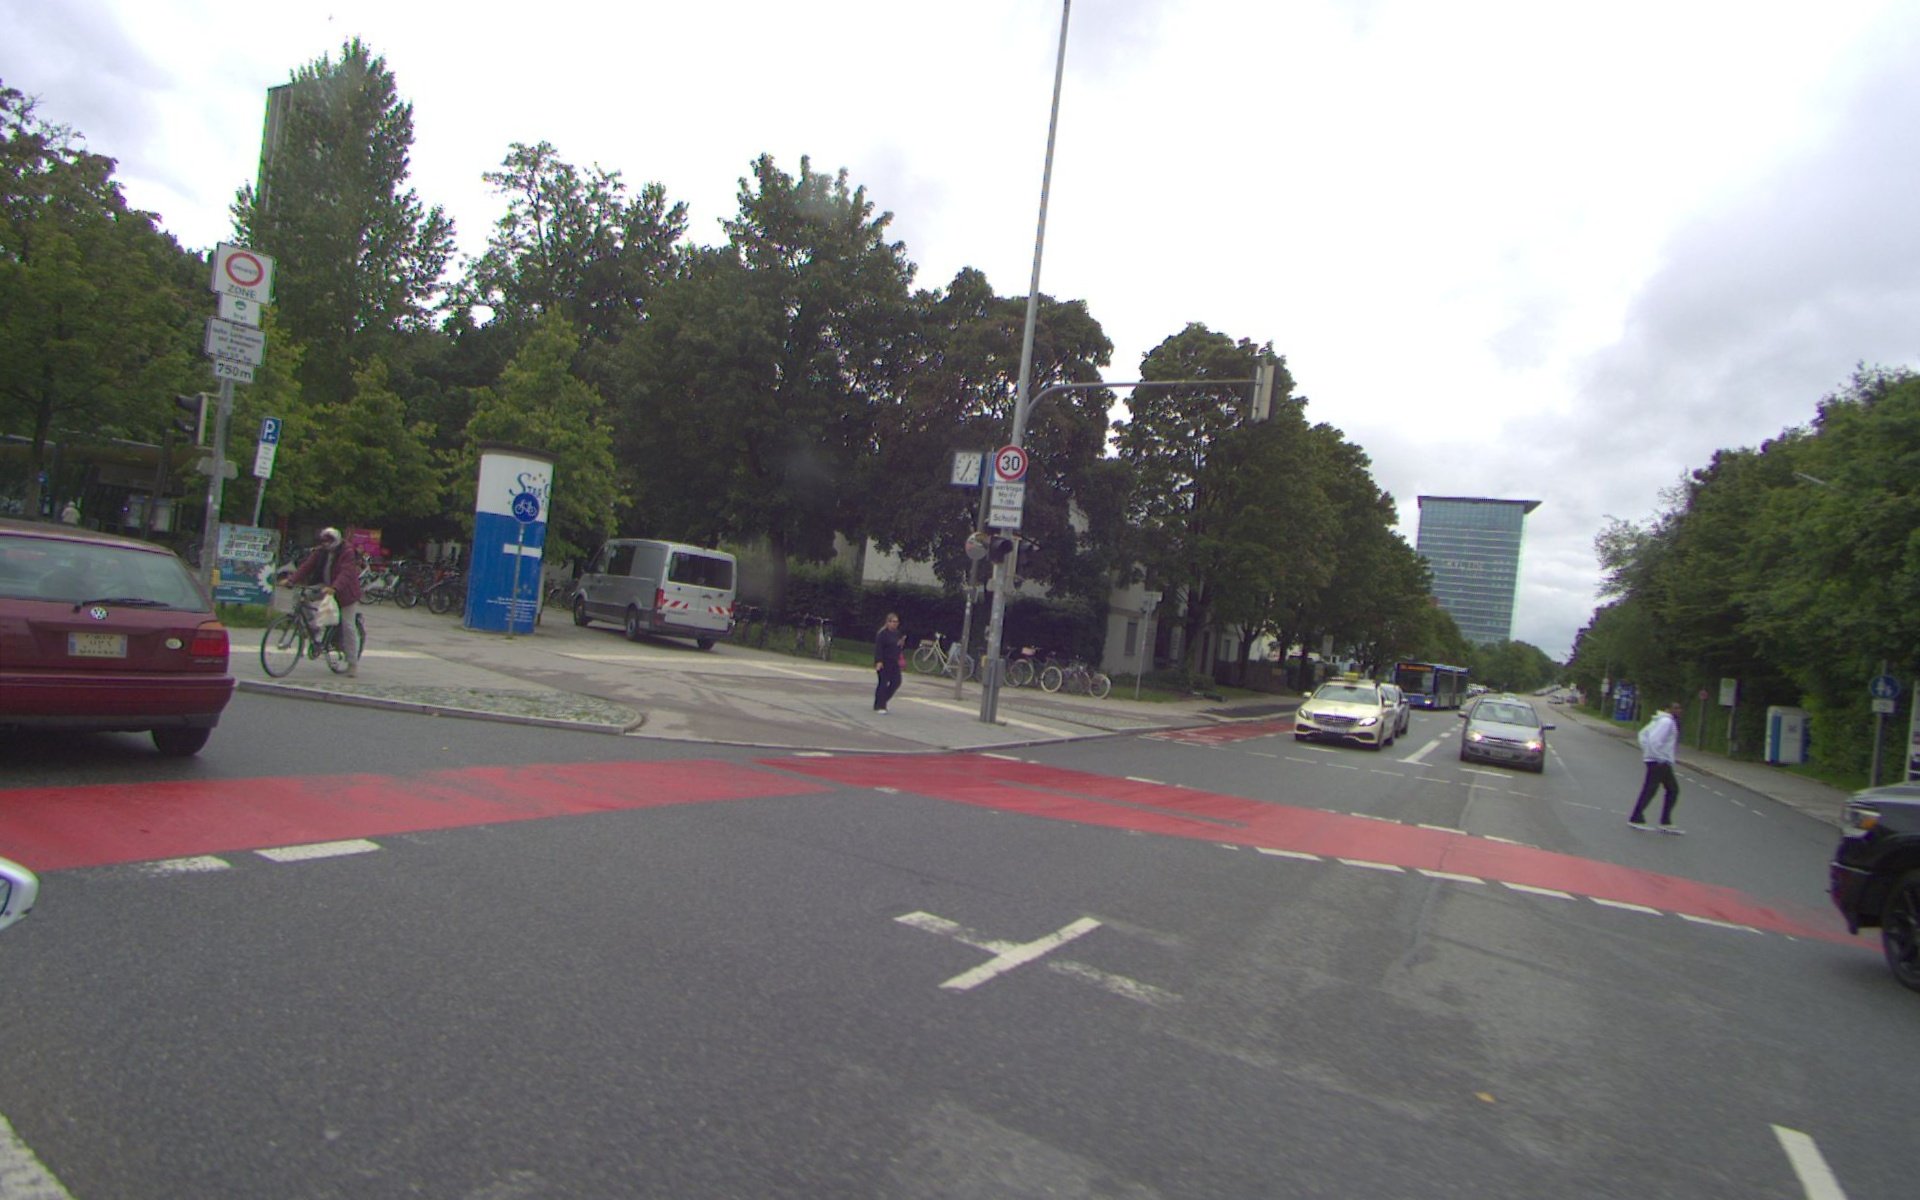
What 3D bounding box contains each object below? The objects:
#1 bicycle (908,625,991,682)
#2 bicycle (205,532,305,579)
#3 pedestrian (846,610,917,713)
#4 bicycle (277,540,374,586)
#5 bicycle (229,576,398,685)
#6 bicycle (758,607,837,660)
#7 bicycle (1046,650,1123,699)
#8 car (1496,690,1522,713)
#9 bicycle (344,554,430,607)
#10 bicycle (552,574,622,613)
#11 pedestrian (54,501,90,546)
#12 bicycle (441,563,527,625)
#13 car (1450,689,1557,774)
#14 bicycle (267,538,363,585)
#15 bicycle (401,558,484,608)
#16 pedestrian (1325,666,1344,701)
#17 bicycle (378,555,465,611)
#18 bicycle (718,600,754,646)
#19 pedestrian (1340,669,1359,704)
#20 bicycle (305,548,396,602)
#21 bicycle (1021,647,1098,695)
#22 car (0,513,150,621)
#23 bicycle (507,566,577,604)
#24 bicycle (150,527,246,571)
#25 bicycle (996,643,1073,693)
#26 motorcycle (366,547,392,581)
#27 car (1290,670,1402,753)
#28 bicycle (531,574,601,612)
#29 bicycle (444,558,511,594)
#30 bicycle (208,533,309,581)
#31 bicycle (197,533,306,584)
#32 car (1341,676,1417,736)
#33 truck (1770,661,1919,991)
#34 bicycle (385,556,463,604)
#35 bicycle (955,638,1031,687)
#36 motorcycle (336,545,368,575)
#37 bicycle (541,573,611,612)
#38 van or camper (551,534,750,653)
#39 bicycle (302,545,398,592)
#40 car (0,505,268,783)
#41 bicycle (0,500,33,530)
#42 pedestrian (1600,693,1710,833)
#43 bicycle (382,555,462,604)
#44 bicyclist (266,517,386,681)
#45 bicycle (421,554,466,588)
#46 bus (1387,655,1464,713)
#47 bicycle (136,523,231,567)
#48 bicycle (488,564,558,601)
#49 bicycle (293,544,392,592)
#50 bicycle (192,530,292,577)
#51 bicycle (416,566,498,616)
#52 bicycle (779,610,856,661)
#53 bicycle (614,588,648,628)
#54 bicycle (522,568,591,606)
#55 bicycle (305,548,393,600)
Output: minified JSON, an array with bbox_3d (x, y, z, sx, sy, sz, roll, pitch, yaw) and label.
[{"bbox_3d":[-0.283,1.445,27.402,2.074,1.266,0.703,7,0,5],"label":"bicycle"},{"bbox_3d":[-20.743,-1.288,29.655,0.520,1.172,2.340,7,2,30],"label":"bicycle"},{"bbox_3d":[-1.277,0.998,16.326,0.687,1.557,0.729,7,0,-40],"label":"pedestrian"},{"bbox_3d":[-18.718,-1.073,29.738,0.575,1.172,2.340,7,1,30],"label":"bicycle"},{"bbox_3d":[-7.508,0.342,11.818,0.734,1.094,1.947,7,-1,-4],"label":"bicycle"},{"bbox_3d":[-4.460,0.910,27.523,2.094,1.167,0.717,6,0,34],"label":"bicycle"},{"bbox_3d":[3.546,2.123,28.875,2.083,1.108,0.607,6,0,39],"label":"bicycle"},{"bbox_3d":[57.077,10.562,104.596,1.967,2.038,3.992,6,-1,32],"label":"car"},{"bbox_3d":[-13.970,-0.458,24.588,0.557,1.157,1.811,6,1,20],"label":"bicycle"},{"bbox_3d":[-12.615,-0.192,34.075,0.520,1.172,2.340,7,2,30],"label":"bicycle"},{"bbox_3d":[-33.085,-2.838,37.493,0.681,1.531,0.580,7,0,13],"label":"pedestrian"},{"bbox_3d":[-10.938,-0.146,23.110,1.968,1.214,0.861,6,1,35],"label":"bicycle"},{"bbox_3d":[12.168,2.878,22.741,1.598,1.471,3.949,7,-1,23],"label":"car"},{"bbox_3d":[-19.230,-1.131,30.044,0.575,1.172,2.340,7,1,30],"label":"bicycle"},{"bbox_3d":[-13.586,-0.430,26.470,0.558,1.157,1.805,7,1,36],"label":"bicycle"},{"bbox_3d":[20.585,4.591,55.276,0.599,1.849,0.703,7,0,43],"label":"pedestrian"},{"bbox_3d":[-13.216,-0.402,24.746,0.557,1.227,1.945,6,1,20],"label":"bicycle"},{"bbox_3d":[-6.514,0.655,29.164,0.708,1.167,2.120,7,-1,-18],"label":"bicycle"},{"bbox_3d":[21.327,4.753,55.103,0.599,1.849,0.704,7,0,41],"label":"pedestrian"},{"bbox_3d":[-15.261,-0.610,25.225,0.559,1.157,1.803,7,1,40],"label":"bicycle"},{"bbox_3d":[2.806,2.011,28.628,2.083,1.108,0.607,6,0,39],"label":"bicycle"},{"bbox_3d":[-15.155,-0.660,16.126,4.542,1.376,1.714,6,-2,29],"label":"car"},{"bbox_3d":[-14.718,-0.508,35.484,0.520,1.172,2.340,7,2,30],"label":"bicycle"},{"bbox_3d":[-24.016,-1.589,31.745,0.520,1.172,2.340,7,2,30],"label":"bicycle"},{"bbox_3d":[2.078,1.893,28.221,2.084,1.108,0.607,6,0,41],"label":"bicycle"},{"bbox_3d":[-22.535,-1.417,39.000,0.652,1.191,1.797,7,0,-33],"label":"motorcycle"},{"bbox_3d":[9.187,2.569,23.738,1.854,1.515,4.310,7,-1,28],"label":"car"},{"bbox_3d":[-13.574,-0.224,34.732,0.520,1.172,2.340,7,2,30],"label":"bicycle"},{"bbox_3d":[-18.285,-0.894,38.163,0.520,1.172,2.340,7,2,30],"label":"bicycle"},{"bbox_3d":[-20.355,-1.238,29.252,0.520,1.172,2.340,7,2,30],"label":"bicycle"},{"bbox_3d":[-19.285,-1.100,27.455,0.575,1.172,2.340,7,1,30],"label":"bicycle"},{"bbox_3d":[12.620,3.142,30.160,1.599,1.471,3.946,7,-1,28],"label":"car"},{"bbox_3d":[7.746,1.626,4.771,2.074,2.038,5.793,7,-1,-16],"label":"truck"},{"bbox_3d":[-14.783,-0.549,27.803,0.558,1.157,1.807,7,1,31],"label":"bicycle"},{"bbox_3d":[0.898,1.729,28.084,2.083,1.108,0.607,6,0,39],"label":"bicycle"},{"bbox_3d":[-23.374,-1.531,38.691,0.649,1.075,1.805,7,-1,-20],"label":"motorcycle"},{"bbox_3d":[-13.106,-0.228,34.384,0.520,1.172,2.340,7,2,30],"label":"bicycle"},{"bbox_3d":[-7.704,-0.251,24.543,2.134,2.324,6.128,7,-1,-41],"label":"van or camper"},{"bbox_3d":[-17.744,-0.908,29.329,0.575,1.172,2.340,7,1,30],"label":"bicycle"},{"bbox_3d":[-6.530,0.093,6.670,3.883,1.471,1.625,6,-1,31],"label":"car"},{"bbox_3d":[-46.588,-4.208,49.521,2.508,1.296,0.646,6,0,31],"label":"bicycle"},{"bbox_3d":[9.514,2.199,13.806,0.922,1.724,0.762,7,0,22],"label":"pedestrian"},{"bbox_3d":[-14.478,-0.528,27.108,0.558,1.157,1.807,7,1,31],"label":"bicycle"},{"bbox_3d":[-7.473,-0.003,11.901,0.733,1.785,0.827,7,0,-4],"label":"bicyclist"},{"bbox_3d":[-20.799,-1.174,40.492,2.308,1.173,0.527,7,2,34],"label":"bicycle"},{"bbox_3d":[31.917,5.811,68.607,2.689,3.321,11.864,7,-1,34],"label":"bus"},{"bbox_3d":[-24.861,-1.750,32.270,0.520,1.172,2.340,7,2,30],"label":"bicycle"},{"bbox_3d":[-15.614,-0.611,36.001,0.520,1.172,2.340,7,2,30],"label":"bicycle"},{"bbox_3d":[-17.473,-0.884,28.534,0.575,1.172,2.340,7,1,30],"label":"bicycle"},{"bbox_3d":[-21.260,-1.371,29.833,0.520,1.172,2.340,7,2,30],"label":"bicycle"},{"bbox_3d":[-12.096,-0.196,24.261,0.557,1.085,1.811,6,1,20],"label":"bicycle"},{"bbox_3d":[-4.004,0.997,28.207,2.094,1.167,0.697,6,0,34],"label":"bicycle"},{"bbox_3d":[-10.837,0.252,33.191,0.707,1.167,2.124,7,-1,-12],"label":"bicycle"},{"bbox_3d":[-14.076,-0.431,35.180,0.520,1.172,2.340,7,2,30],"label":"bicycle"},{"bbox_3d":[-15.871,-0.665,26.158,0.558,1.157,1.805,7,1,36],"label":"bicycle"}]
